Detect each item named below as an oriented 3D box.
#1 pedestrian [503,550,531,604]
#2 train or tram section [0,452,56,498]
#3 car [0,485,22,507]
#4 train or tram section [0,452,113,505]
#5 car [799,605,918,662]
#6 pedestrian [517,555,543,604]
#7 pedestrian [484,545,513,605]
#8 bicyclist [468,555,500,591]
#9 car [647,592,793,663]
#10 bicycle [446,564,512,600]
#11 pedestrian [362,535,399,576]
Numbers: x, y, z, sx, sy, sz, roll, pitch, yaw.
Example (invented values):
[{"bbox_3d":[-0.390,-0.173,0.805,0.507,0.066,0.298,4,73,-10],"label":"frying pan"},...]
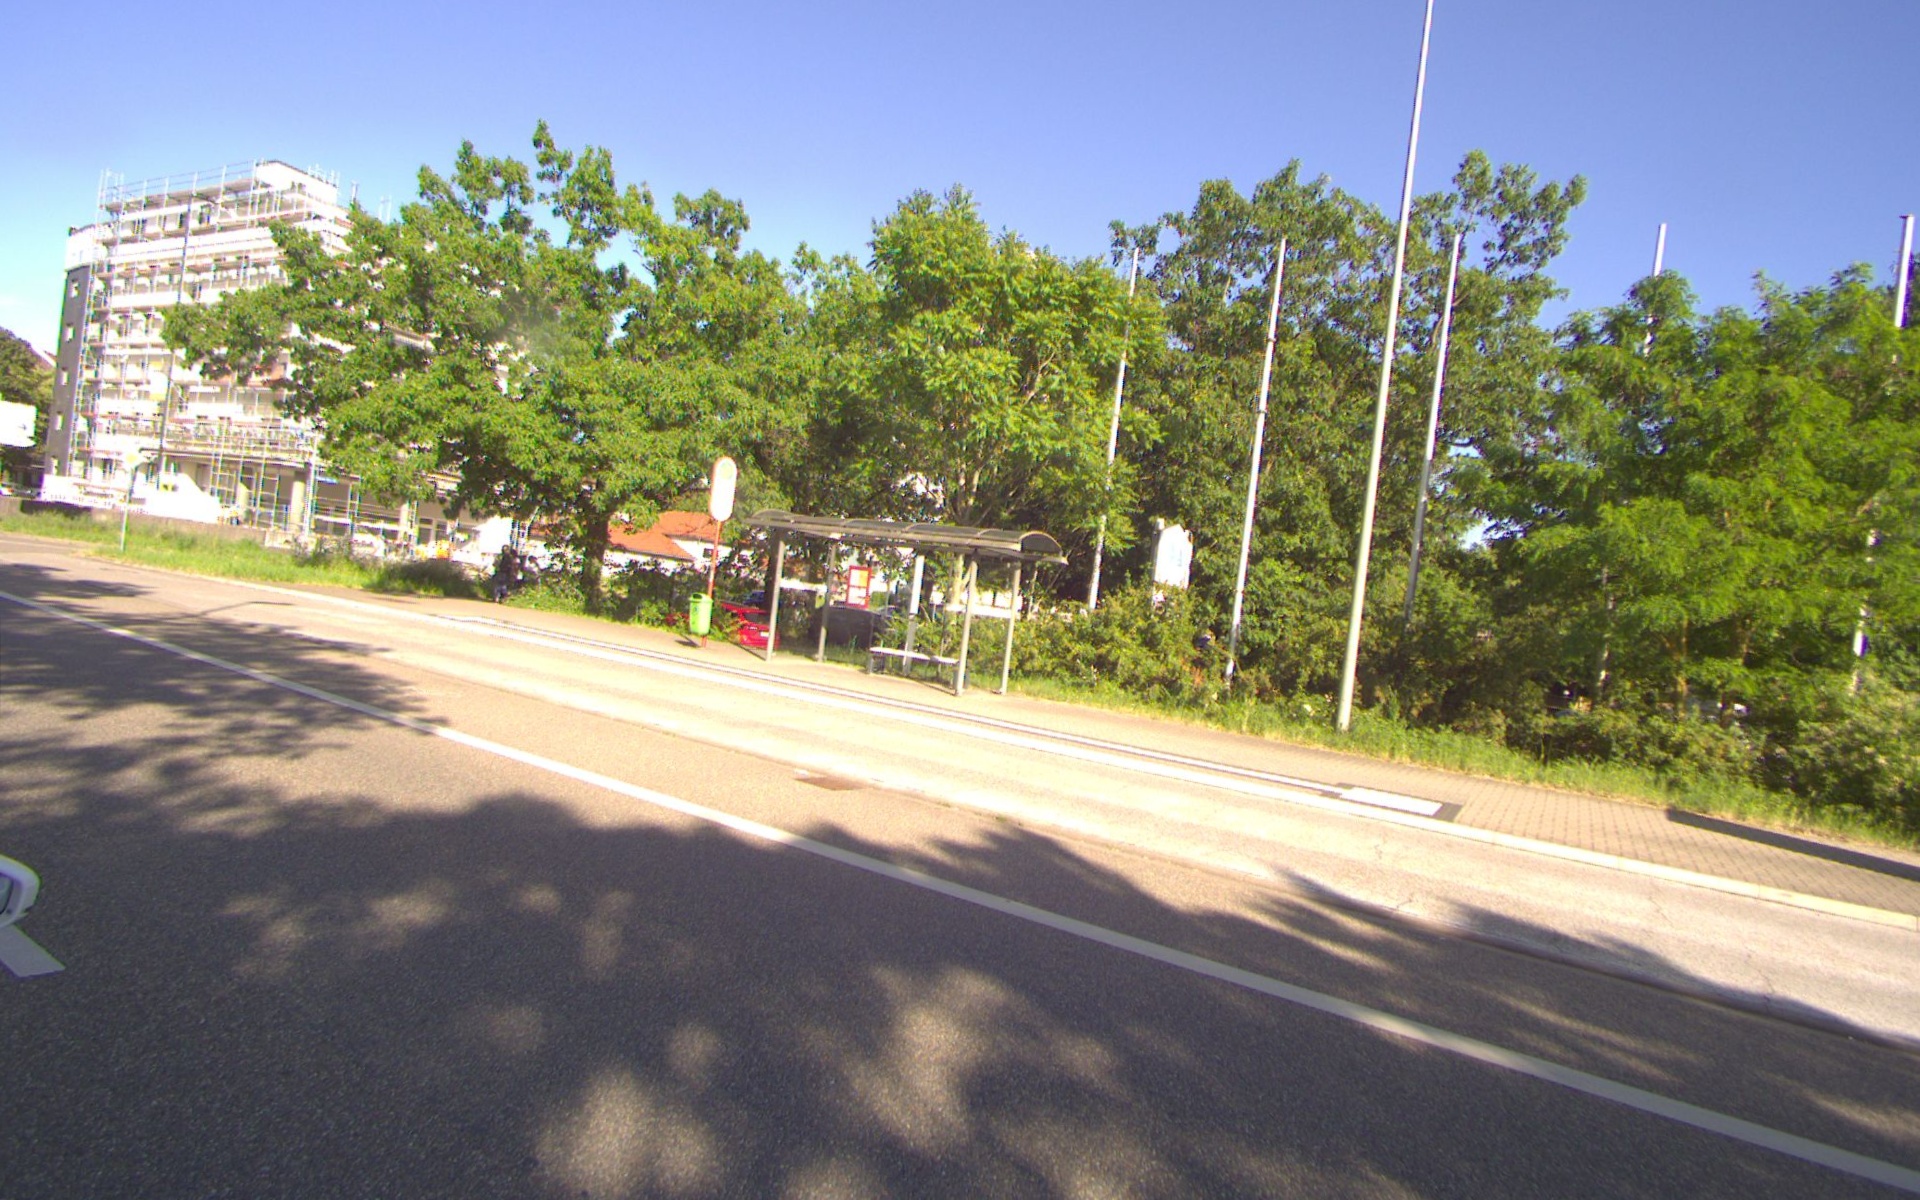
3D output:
[{"bbox_3d":[-12.795,-0.666,29.046,0.517,1.465,0.587,7,1,-32],"label":"pedestrian"},{"bbox_3d":[-88.114,-11.739,91.191,3.265,3.555,19.267,7,0,-25],"label":"train or tram section"},{"bbox_3d":[-66.544,-7.276,70.005,1.521,1.330,3.250,7,0,-40],"label":"car"},{"bbox_3d":[-94.619,-12.512,105.369,3.265,3.816,20.681,7,0,-25],"label":"train or tram section"},{"bbox_3d":[-3.589,1.199,35.984,3.674,1.504,1.914,7,0,13],"label":"car"},{"bbox_3d":[-13.402,-0.635,31.333,0.517,1.465,0.587,7,1,-32],"label":"pedestrian"},{"bbox_3d":[-13.018,-0.704,28.376,0.517,1.632,0.587,7,1,-32],"label":"pedestrian"},{"bbox_3d":[-20.955,-1.193,44.301,0.732,1.454,0.844,6,-1,33],"label":"bicyclist"},{"bbox_3d":[-6.874,0.792,28.750,3.680,1.504,1.755,7,0,28],"label":"car"},{"bbox_3d":[-21.105,-0.768,44.181,0.699,1.212,2.517,6,-2,32],"label":"bicycle"},{"bbox_3d":[-26.401,-2.027,45.823,0.969,1.674,0.892,7,0,13],"label":"pedestrian"}]
